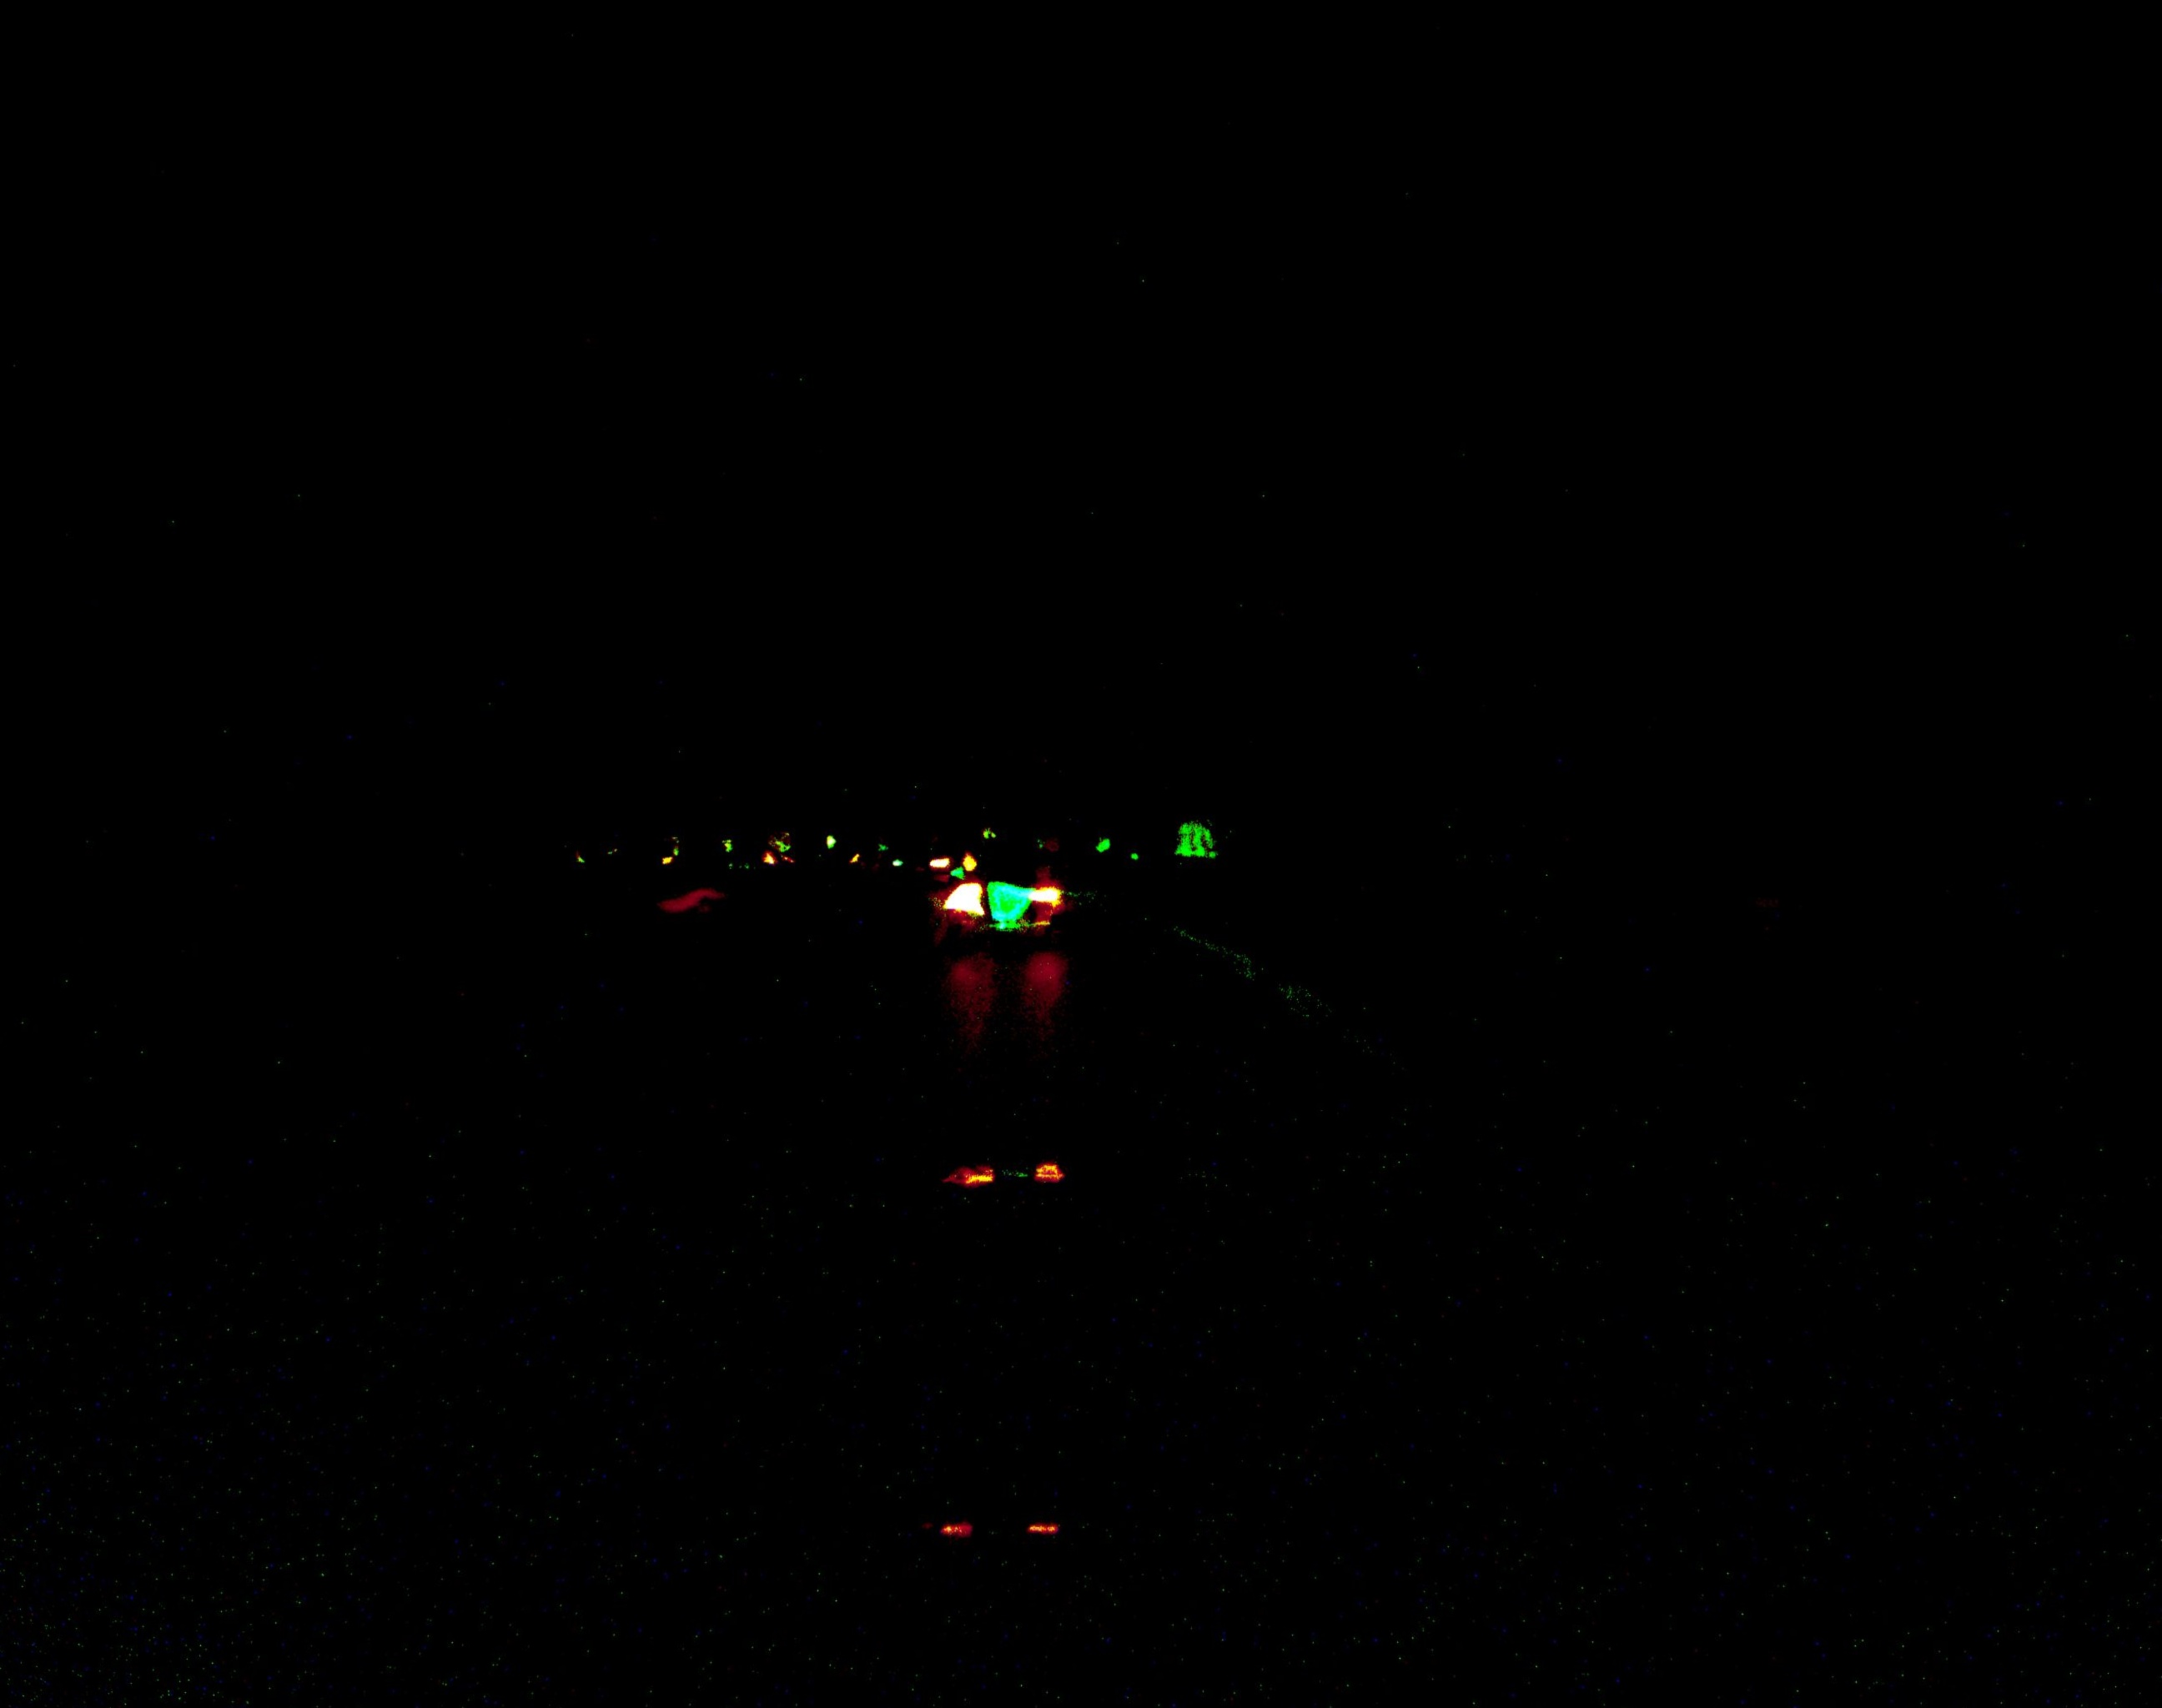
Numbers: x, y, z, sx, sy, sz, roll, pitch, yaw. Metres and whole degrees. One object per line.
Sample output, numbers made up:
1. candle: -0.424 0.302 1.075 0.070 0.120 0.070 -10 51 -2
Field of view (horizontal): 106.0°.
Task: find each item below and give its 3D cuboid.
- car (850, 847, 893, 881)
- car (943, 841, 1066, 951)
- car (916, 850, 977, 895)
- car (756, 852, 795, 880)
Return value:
1. car: -13.351 0.601 51.791 1.905 2.040 4.011 -1 1 -26
2. car: -1.386 0.646 14.821 1.858 1.647 4.061 -2 0 -6
3. car: -5.742 0.721 34.399 1.901 1.720 4.020 -2 1 -19
4. car: -23.383 0.901 62.231 1.909 1.997 4.004 -3 1 -33
